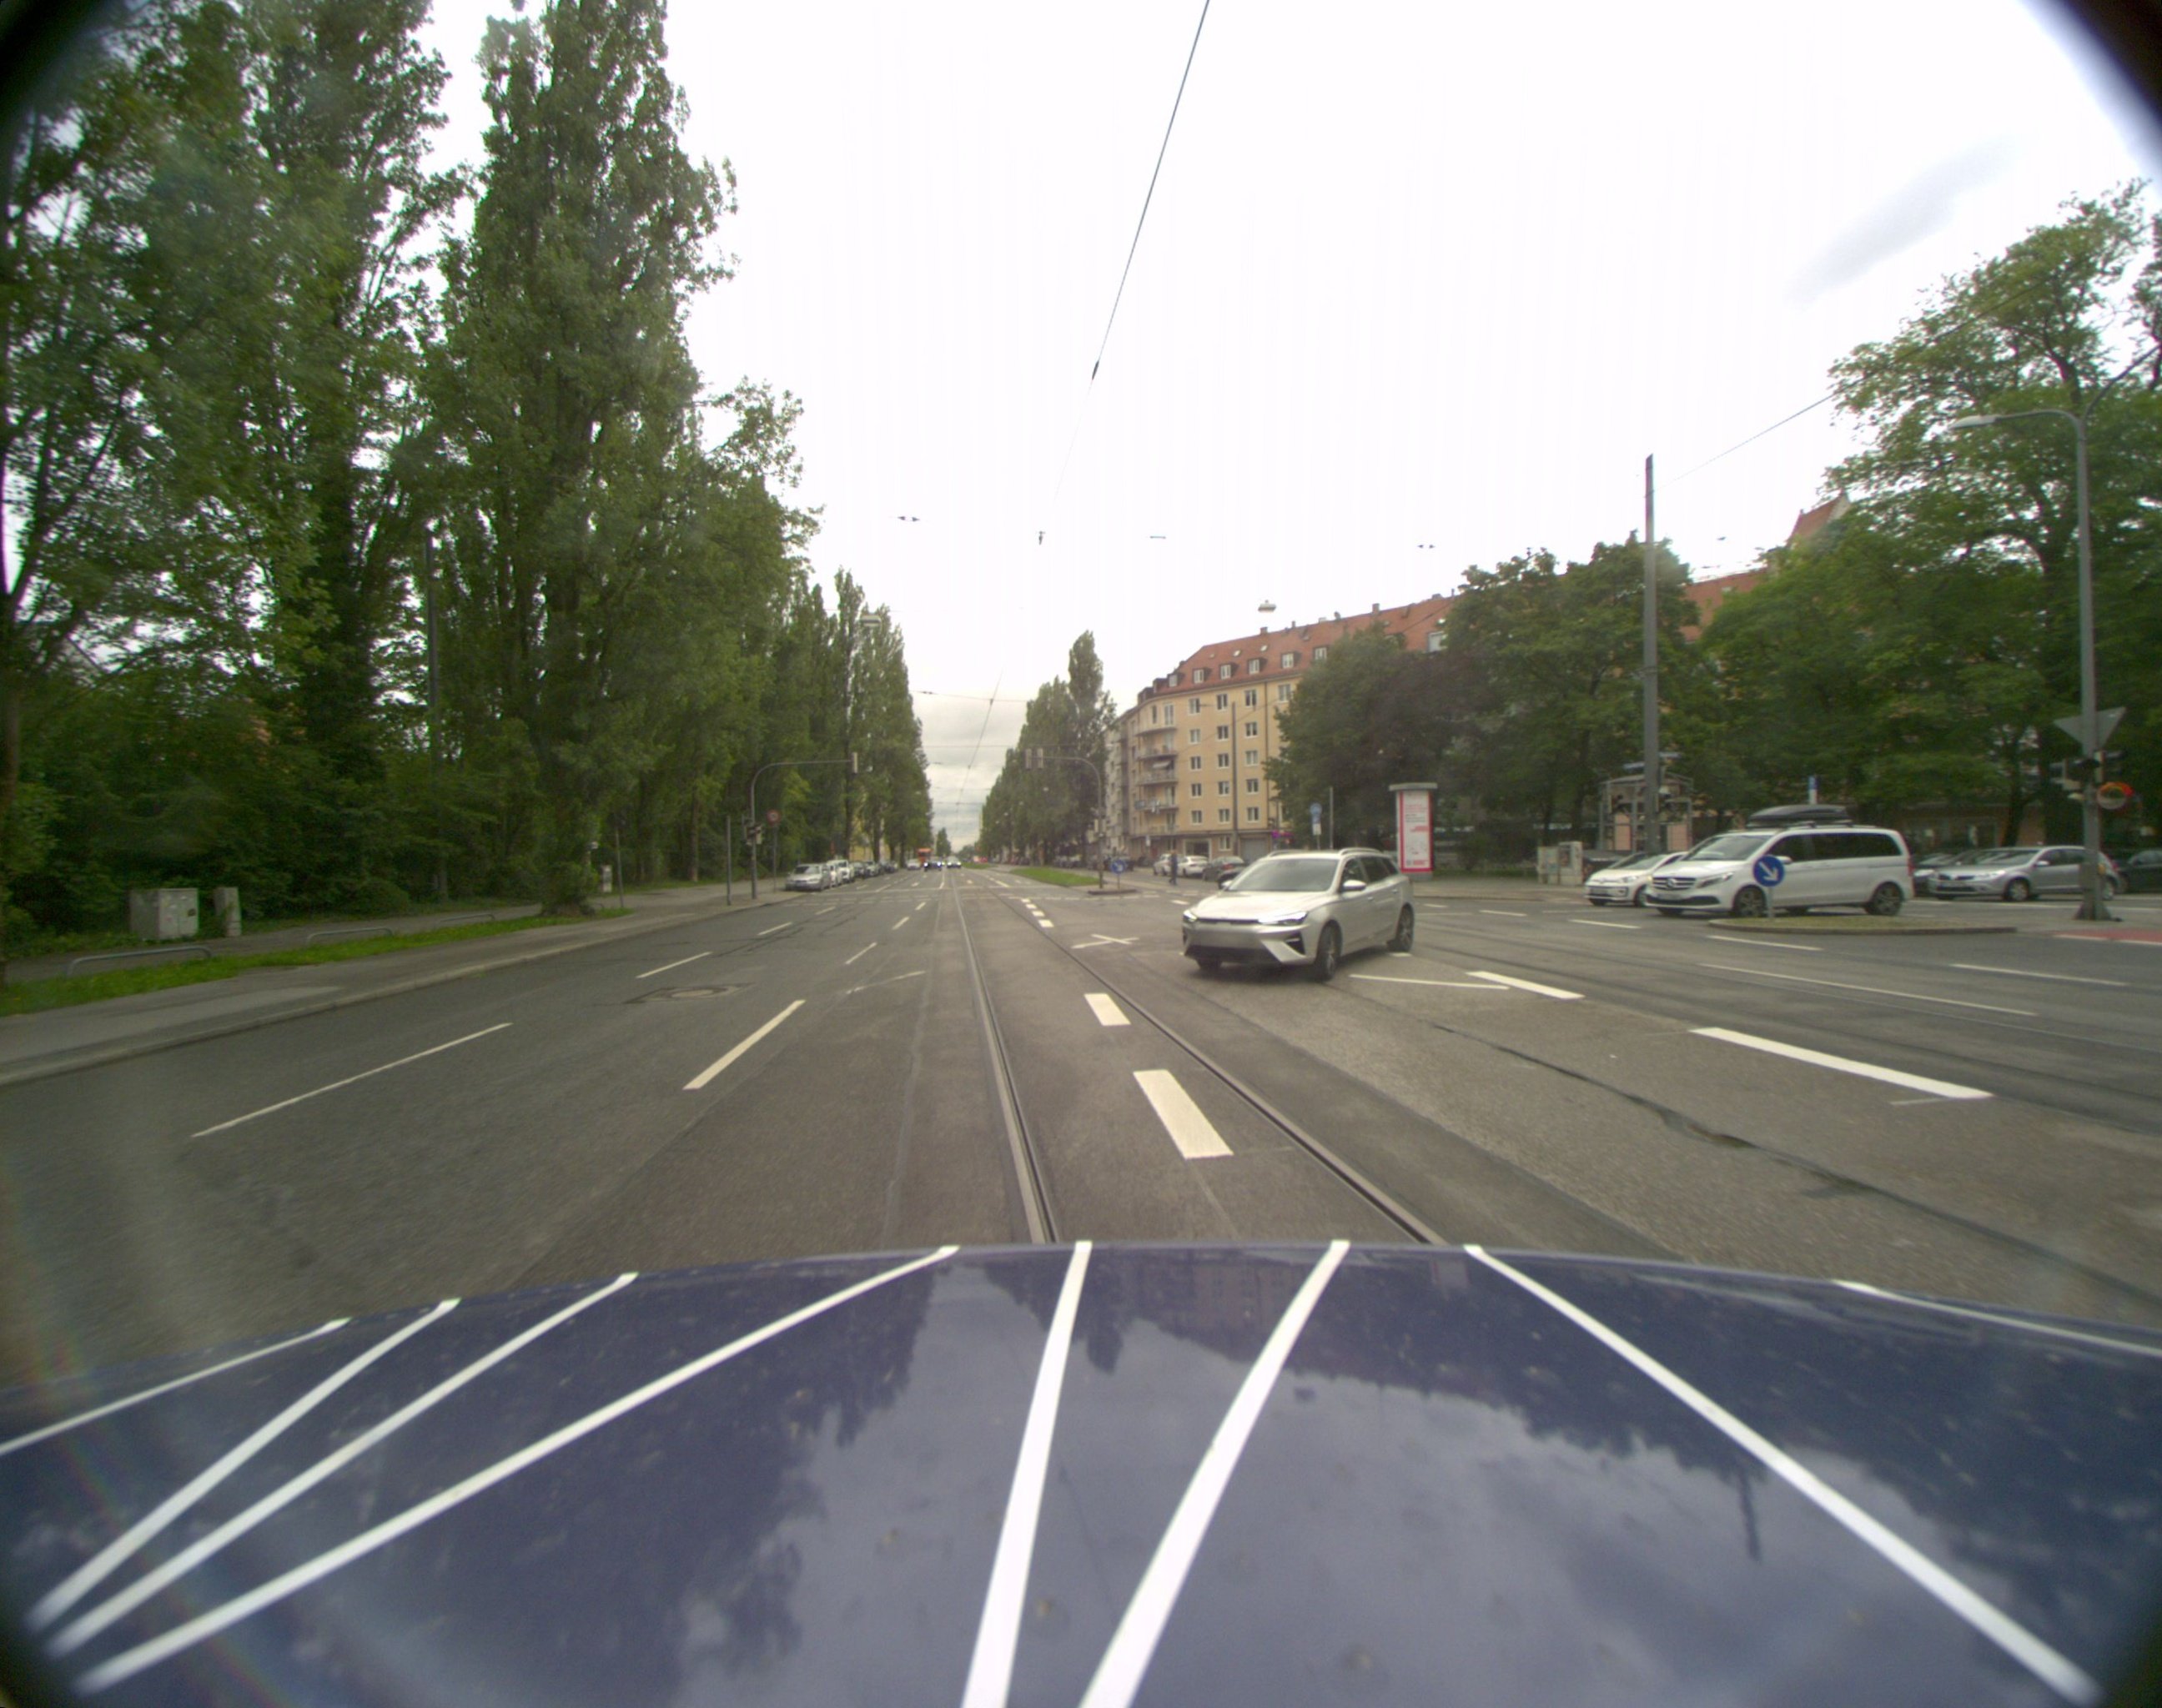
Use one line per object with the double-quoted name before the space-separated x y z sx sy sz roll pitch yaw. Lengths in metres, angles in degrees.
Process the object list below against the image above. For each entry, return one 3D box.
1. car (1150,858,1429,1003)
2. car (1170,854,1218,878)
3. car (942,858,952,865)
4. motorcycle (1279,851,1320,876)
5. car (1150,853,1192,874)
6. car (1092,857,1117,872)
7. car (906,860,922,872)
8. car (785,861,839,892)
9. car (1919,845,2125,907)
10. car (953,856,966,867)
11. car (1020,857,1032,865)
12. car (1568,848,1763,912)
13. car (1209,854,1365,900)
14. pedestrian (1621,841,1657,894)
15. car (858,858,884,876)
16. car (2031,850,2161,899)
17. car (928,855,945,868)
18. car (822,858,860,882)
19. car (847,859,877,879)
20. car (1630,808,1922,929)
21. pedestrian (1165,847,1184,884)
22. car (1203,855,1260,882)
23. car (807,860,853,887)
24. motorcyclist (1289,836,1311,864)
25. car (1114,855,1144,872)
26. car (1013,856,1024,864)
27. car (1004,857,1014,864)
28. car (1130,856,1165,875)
"car" 2.983 0.856 10.301 1.771 1.515 4.217 -2 -1 45
"car" 6.972 0.694 47.236 1.731 1.399 4.371 -1 0 -9
"car" -27.408 1.542 155.704 1.787 1.477 4.135 -2 1 -9
"motorcycle" 11.263 0.476 39.161 0.631 1.163 2.024 -8 5 -36
"car" 6.157 0.619 52.354 1.731 1.399 4.371 -1 0 -9
"car" 2.314 1.037 75.991 1.731 1.399 4.204 -1 0 -9
"car" -23.493 1.659 106.950 1.787 1.477 4.135 -2 1 -9
"car" -14.264 1.143 40.560 1.786 1.477 4.349 -2 1 -7
"car" 25.862 0.586 20.925 4.209 1.515 1.775 -1 -1 -11
"car" -17.716 1.087 110.752 1.787 1.477 4.135 -2 1 -9
"car" -10.965 1.316 151.501 1.819 1.461 3.997 -2 -1 -11
"car" 15.509 0.671 20.245 4.209 1.515 1.775 -1 -1 -12
"car" 6.759 0.718 25.344 4.785 1.381 1.733 -1 0 44
"pedestrian" 17.899 0.426 24.385 0.545 1.652 0.720 -2 4 -6
"car" -18.945 1.156 68.762 1.787 1.477 4.135 -2 1 -9
"car" 33.818 0.628 24.523 4.641 1.452 1.772 -1 0 -7
"car" -17.220 0.850 90.769 1.787 1.477 4.135 -2 1 -9
"car" -16.036 1.023 50.913 1.787 1.477 4.135 -2 1 -9
"car" -17.705 1.162 61.521 1.787 1.477 4.135 -2 1 -9
"car" 14.841 0.268 16.345 4.944 2.337 1.912 -1 1 -8
"pedestrian" 4.344 0.534 35.381 0.550 1.652 0.704 -2 -1 36
"car" 8.004 0.745 40.783 1.731 1.308 3.996 -1 0 -9
"car" -15.204 1.154 46.235 1.786 1.477 4.256 -2 1 -6
"motorcyclist" 11.285 -0.198 39.161 0.622 1.434 0.879 -3 1 -38
"car" 4.210 0.841 67.665 1.731 1.399 4.471 -1 0 -9
"car" -13.382 1.282 162.081 1.819 1.707 3.997 -2 -1 -11
"car" -18.361 1.636 192.766 2.000 1.695 3.997 -2 -1 -11
"car" 5.253 0.873 60.389 1.731 1.399 4.371 -1 0 -9
